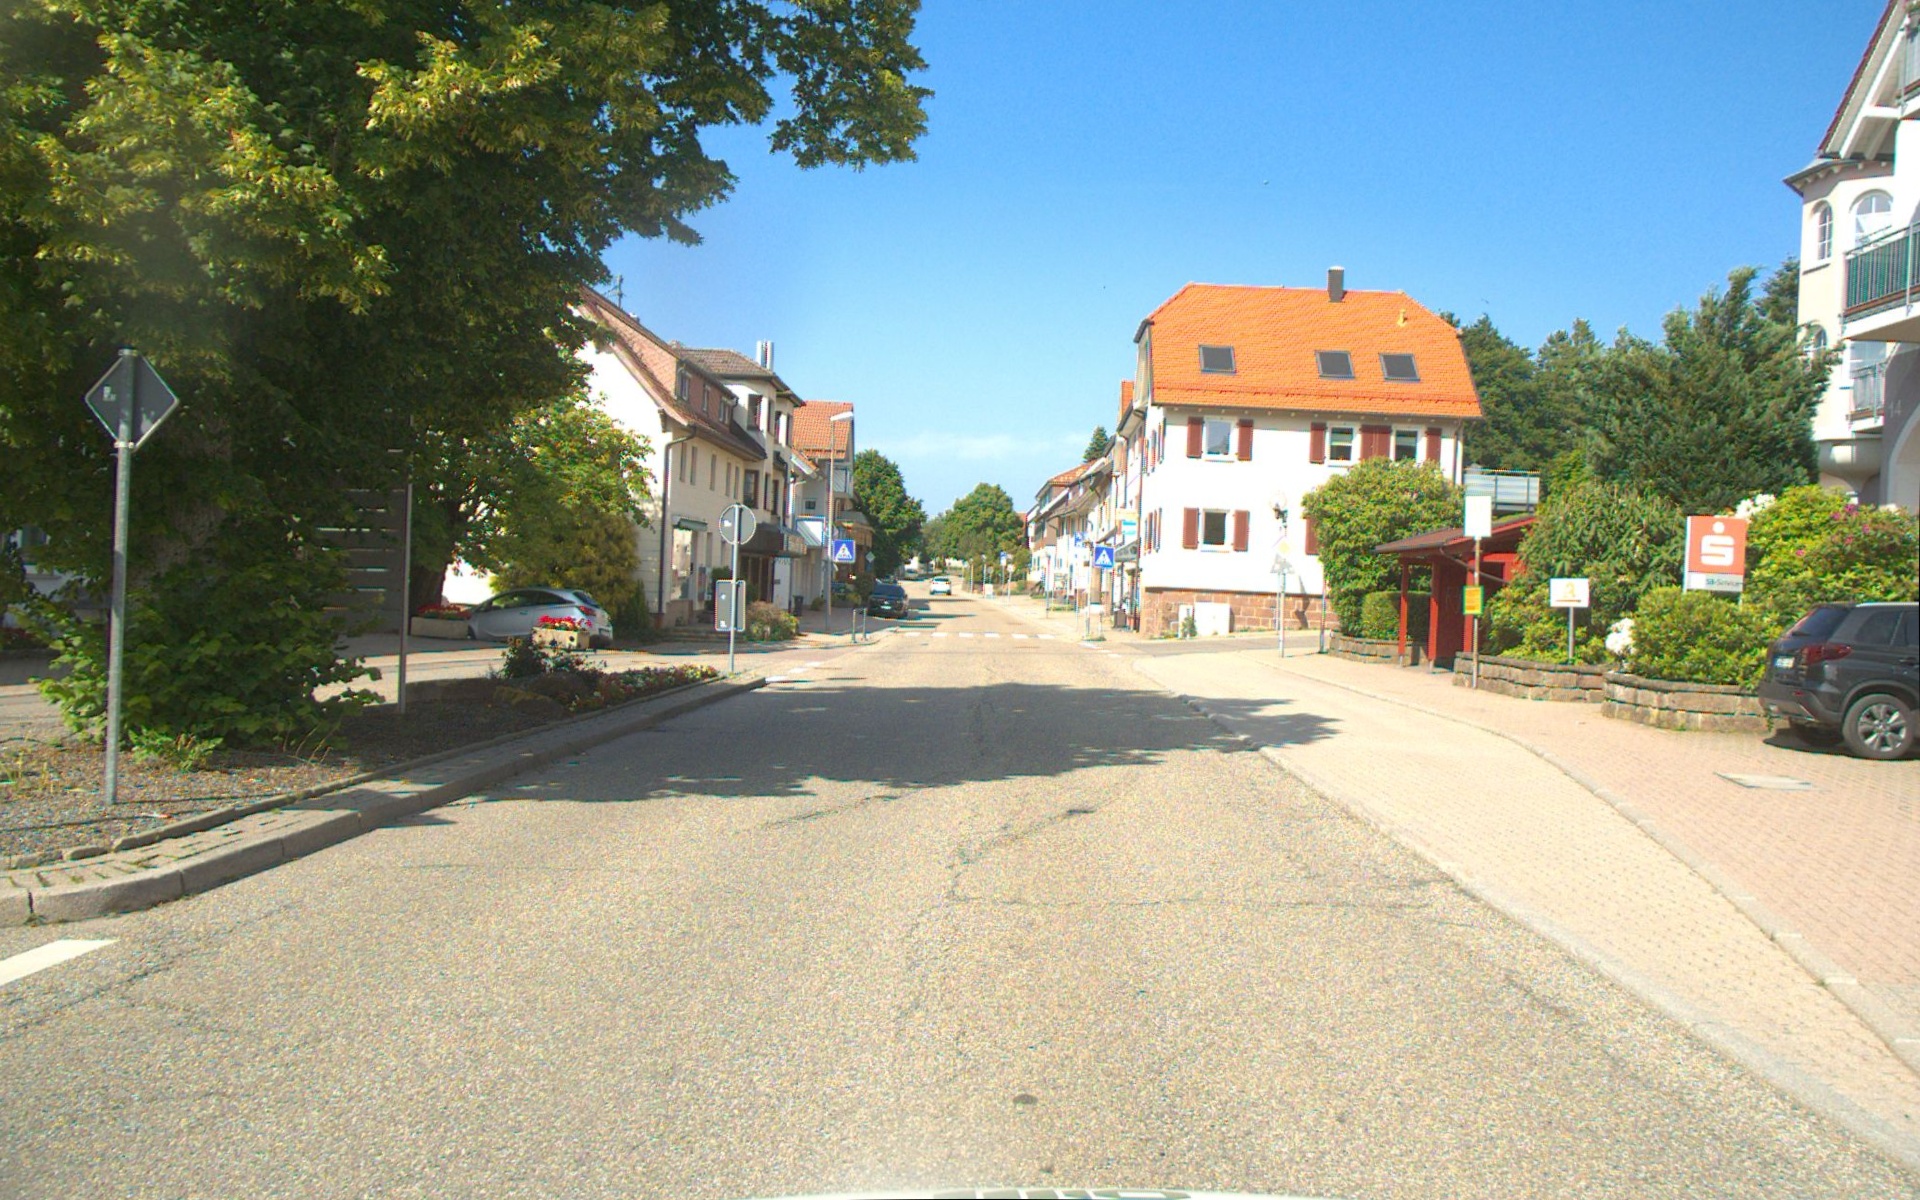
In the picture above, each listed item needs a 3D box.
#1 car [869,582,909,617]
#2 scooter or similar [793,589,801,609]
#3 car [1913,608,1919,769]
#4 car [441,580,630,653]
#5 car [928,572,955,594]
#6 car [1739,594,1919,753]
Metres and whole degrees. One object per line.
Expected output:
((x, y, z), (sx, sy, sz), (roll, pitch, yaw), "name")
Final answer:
((-3.553, -0.054, 83.023), (1.639, 1.559, 3.536), (5, 1, 1), "car")
((-7.622, -0.054, 77.397), (0.344, 0.905, 0.394), (-1, 0, -5), "scooter or similar")
((10.370, 0.838, 14.440), (3.164, 1.494, 1.630), (0, 1, 9), "car")
((-9.551, 0.398, 37.362), (3.679, 1.480, 1.818), (-1, -5, 13), "car")
((-1.832, -1.648, 161.224), (2.446, 2.049, 4.301), (-1, 0, -4), "car")
((10.580, 0.740, 17.398), (3.903, 1.575, 1.882), (0, 0, 4), "car")
